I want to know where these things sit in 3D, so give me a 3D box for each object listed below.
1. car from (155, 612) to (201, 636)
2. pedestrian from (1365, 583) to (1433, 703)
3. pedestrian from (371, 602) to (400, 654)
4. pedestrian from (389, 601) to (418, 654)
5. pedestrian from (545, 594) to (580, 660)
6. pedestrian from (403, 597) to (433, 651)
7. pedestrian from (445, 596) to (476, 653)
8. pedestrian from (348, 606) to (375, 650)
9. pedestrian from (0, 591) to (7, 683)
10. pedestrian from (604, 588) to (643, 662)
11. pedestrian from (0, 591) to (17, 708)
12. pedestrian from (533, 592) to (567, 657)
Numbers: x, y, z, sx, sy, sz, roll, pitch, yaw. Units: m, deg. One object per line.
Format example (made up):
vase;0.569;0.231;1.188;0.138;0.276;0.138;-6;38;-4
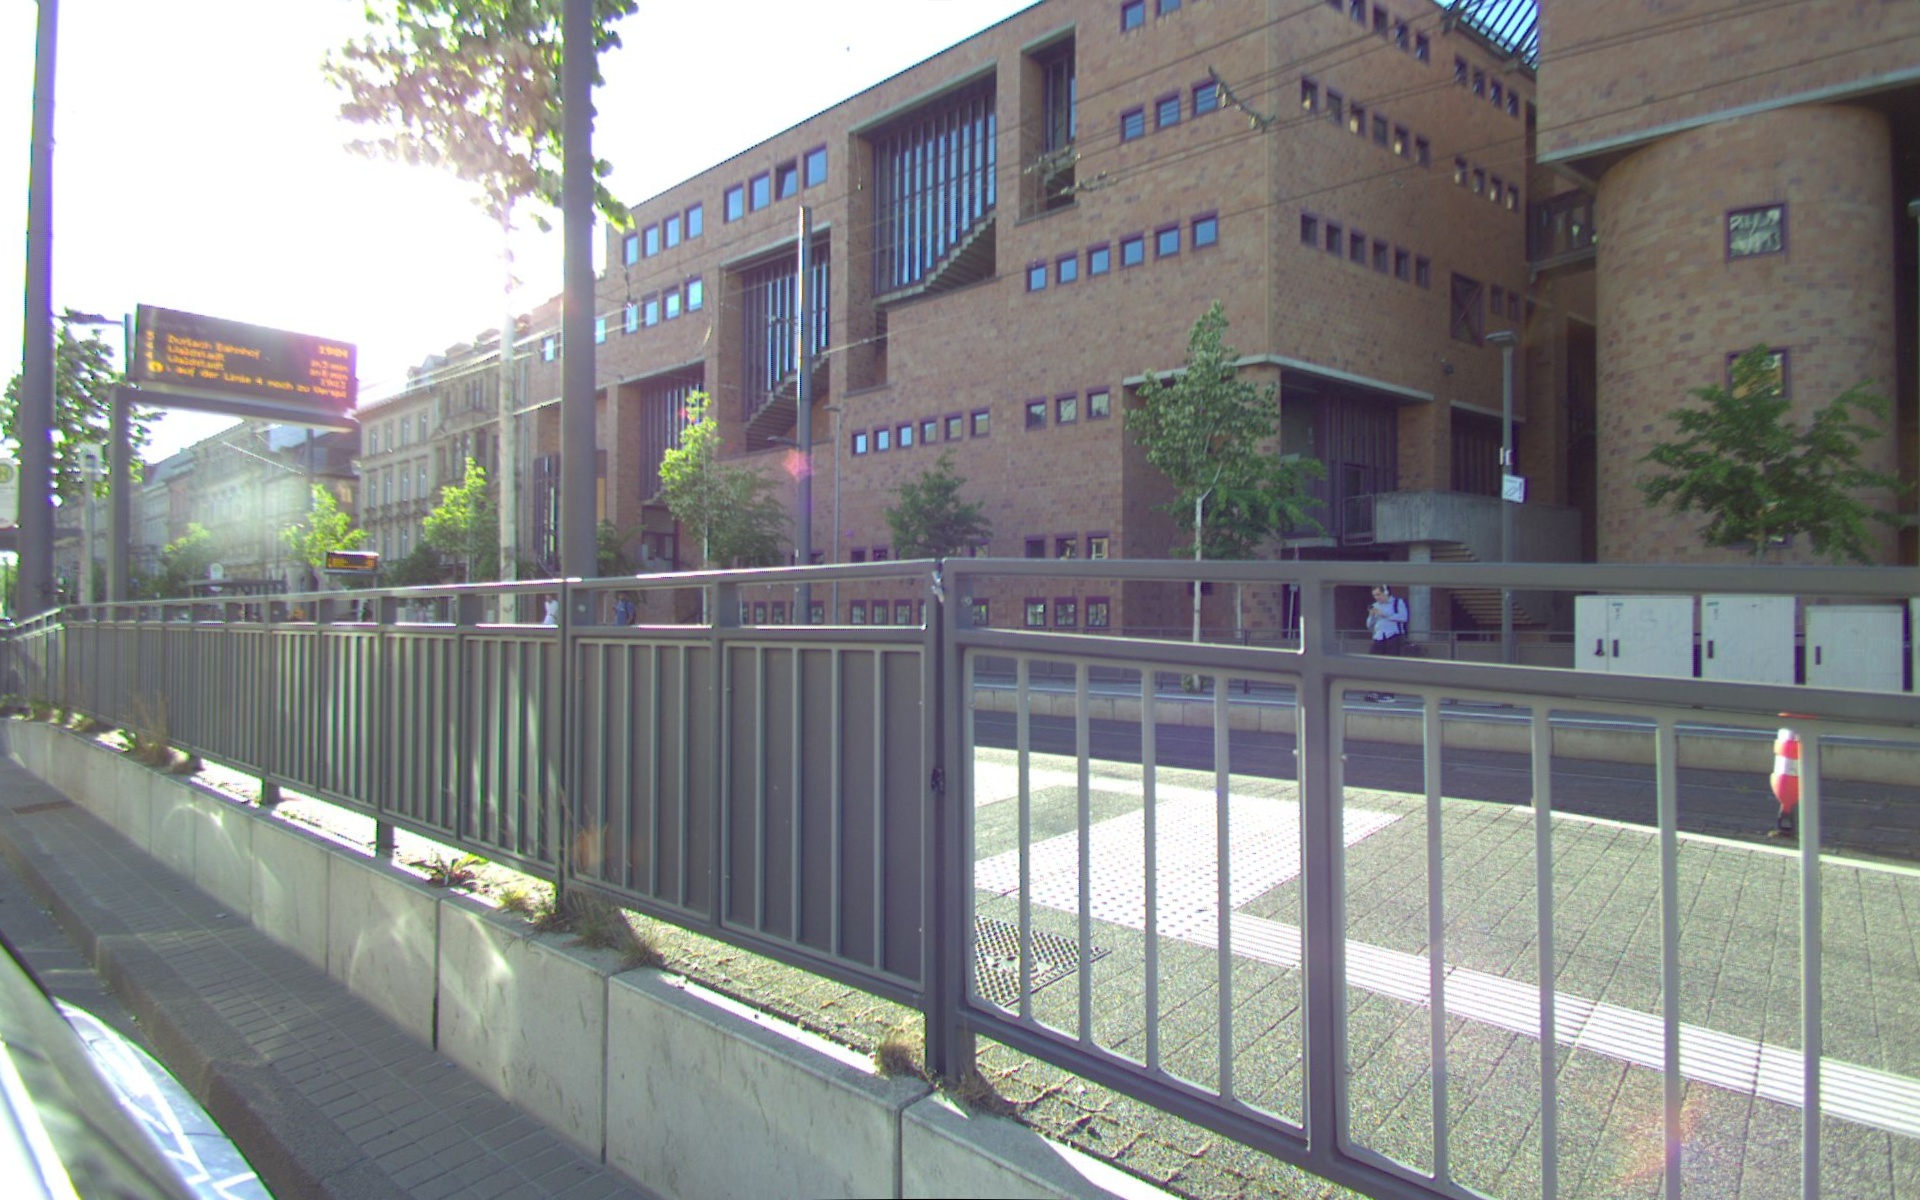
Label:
car;-50.862;1.562;65.771;3.702;1.497;1.681;-2;-2;41
pedestrian;5.829;0.560;13.424;0.653;1.546;0.693;-1;-2;38
pedestrian;-19.860;0.964;34.967;0.586;1.755;0.684;-2;-2;38
pedestrian;-18.853;0.922;34.303;0.586;1.755;0.684;-2;-2;38
pedestrian;-10.776;0.725;27.438;0.586;1.755;0.684;-2;-2;38
pedestrian;-17.814;0.782;33.250;0.586;1.755;0.684;-2;-2;38
pedestrian;-15.563;0.753;31.524;0.586;1.755;0.684;-2;-2;38
pedestrian;-21.731;1.025;36.737;0.586;1.587;0.684;-2;-2;38
pedestrian;-21.683;0.812;22.397;0.880;2.029;0.774;-2;-2;42
pedestrian;-8.172;0.607;24.558;0.586;1.755;0.684;-2;-2;38
pedestrian;-17.222;0.872;17.749;0.771;2.029;0.883;1;-2;-29
pedestrian;-11.297;0.670;27.884;0.586;1.755;0.684;-2;-2;38
